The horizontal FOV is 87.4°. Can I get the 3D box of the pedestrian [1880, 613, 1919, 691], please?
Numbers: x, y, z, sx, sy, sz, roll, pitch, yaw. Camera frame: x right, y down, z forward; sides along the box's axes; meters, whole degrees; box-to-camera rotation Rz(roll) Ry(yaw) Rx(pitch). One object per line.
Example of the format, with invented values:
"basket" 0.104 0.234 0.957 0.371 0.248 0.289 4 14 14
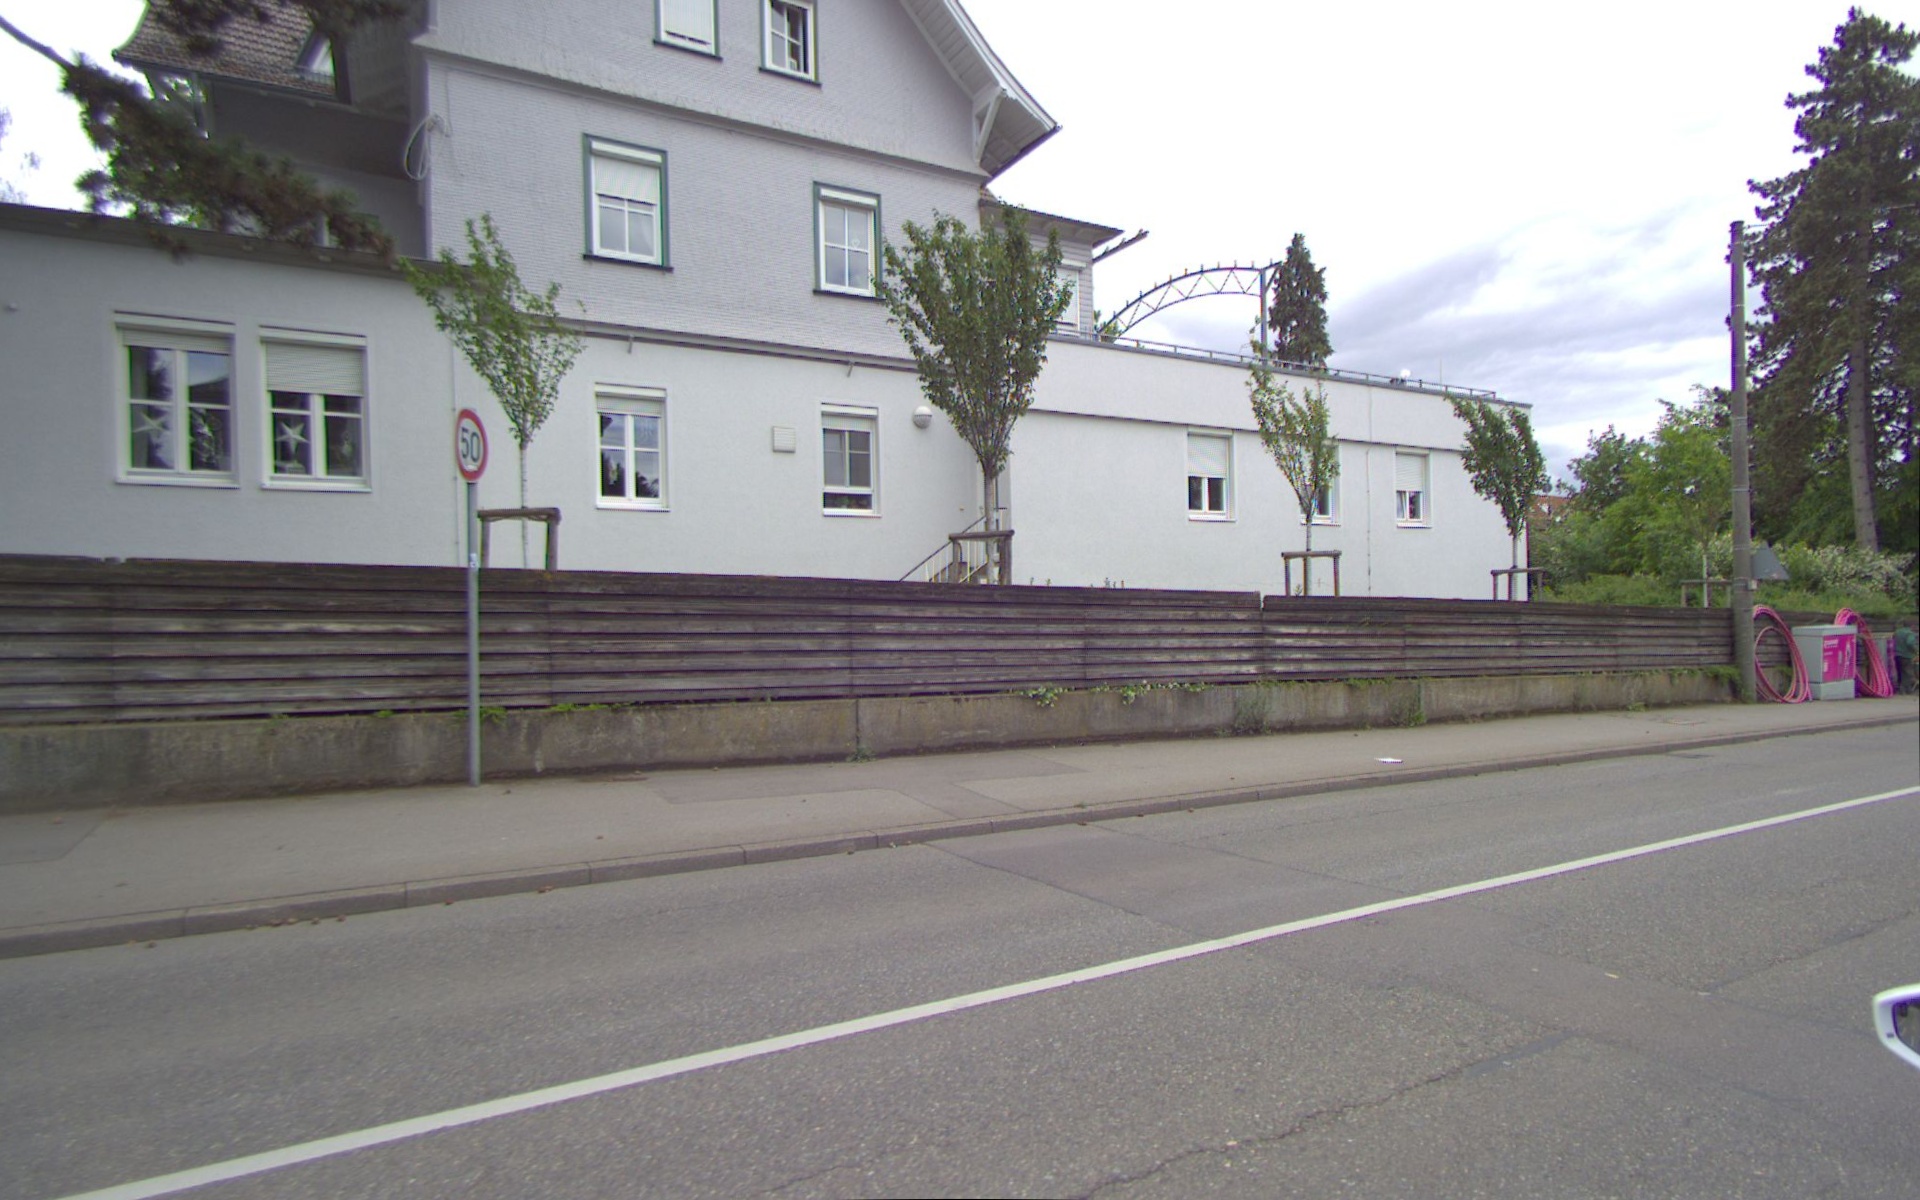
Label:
"pedestrian" 22.205 1.217 23.577 0.805 1.787 0.864 1 -1 37
